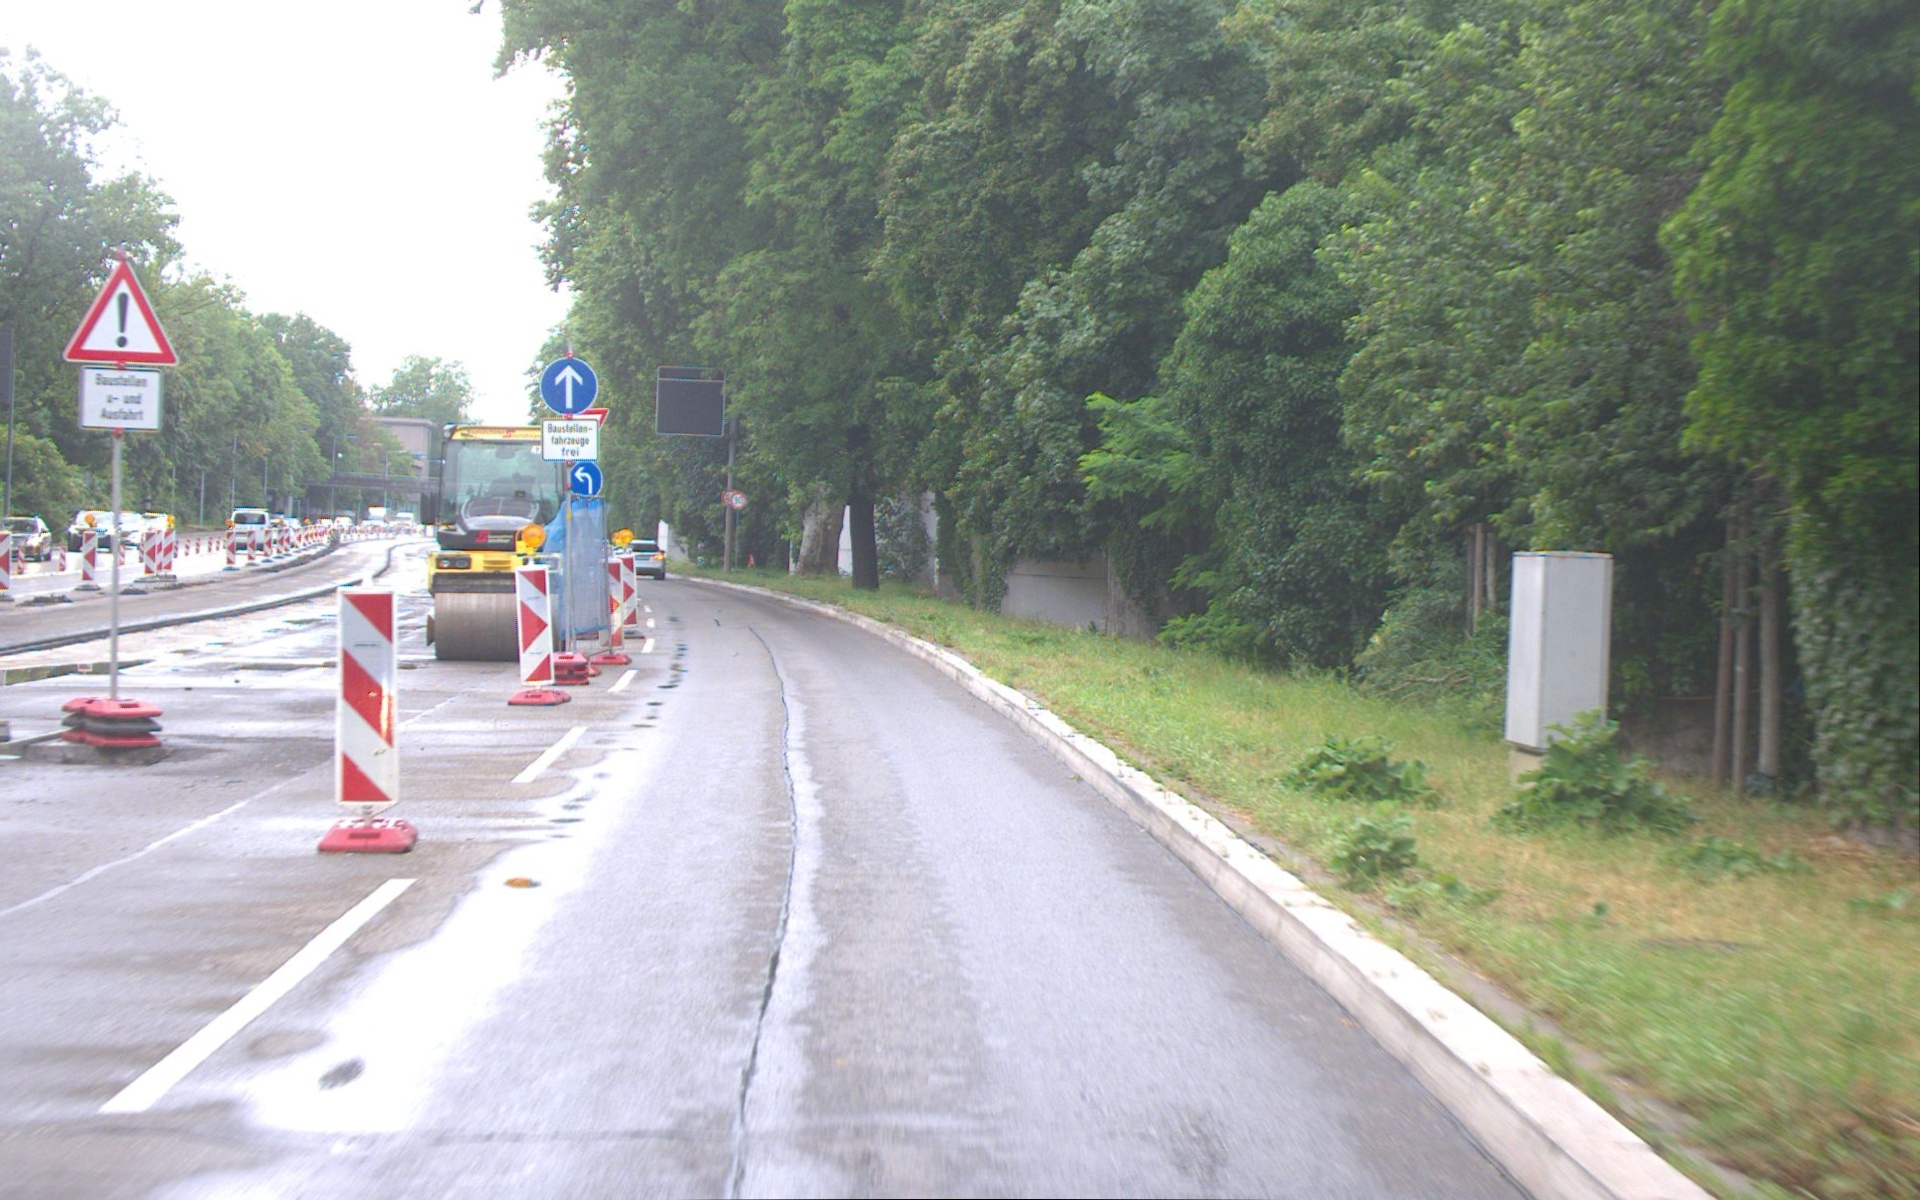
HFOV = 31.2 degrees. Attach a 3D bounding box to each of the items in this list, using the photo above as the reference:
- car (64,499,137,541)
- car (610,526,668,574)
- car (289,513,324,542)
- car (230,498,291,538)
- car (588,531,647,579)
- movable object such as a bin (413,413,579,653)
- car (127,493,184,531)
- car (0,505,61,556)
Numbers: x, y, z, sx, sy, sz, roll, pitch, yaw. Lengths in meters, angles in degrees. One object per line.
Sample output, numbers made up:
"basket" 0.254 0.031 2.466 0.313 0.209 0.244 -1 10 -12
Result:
"car" -35.437 -3.284 141.882 1.927 1.659 4.653 1 1 -2
"car" -11.832 -1.850 126.642 1.913 1.592 4.835 2 2 -7
"car" -36.917 -4.084 194.083 1.564 1.452 3.381 4 2 -15
"car" -31.445 -3.682 154.650 1.927 1.772 4.653 1 1 -2
"car" -11.089 -1.458 111.253 1.756 1.339 4.001 3 2 -7
"movable object such as a bin" -5.789 -0.843 43.199 1.746 2.857 3.535 1 1 -3
"car" -36.315 -3.979 155.267 1.927 1.659 4.653 1 1 -6
"car" -31.536 -2.324 114.749 1.927 1.659 4.653 1 1 -2
